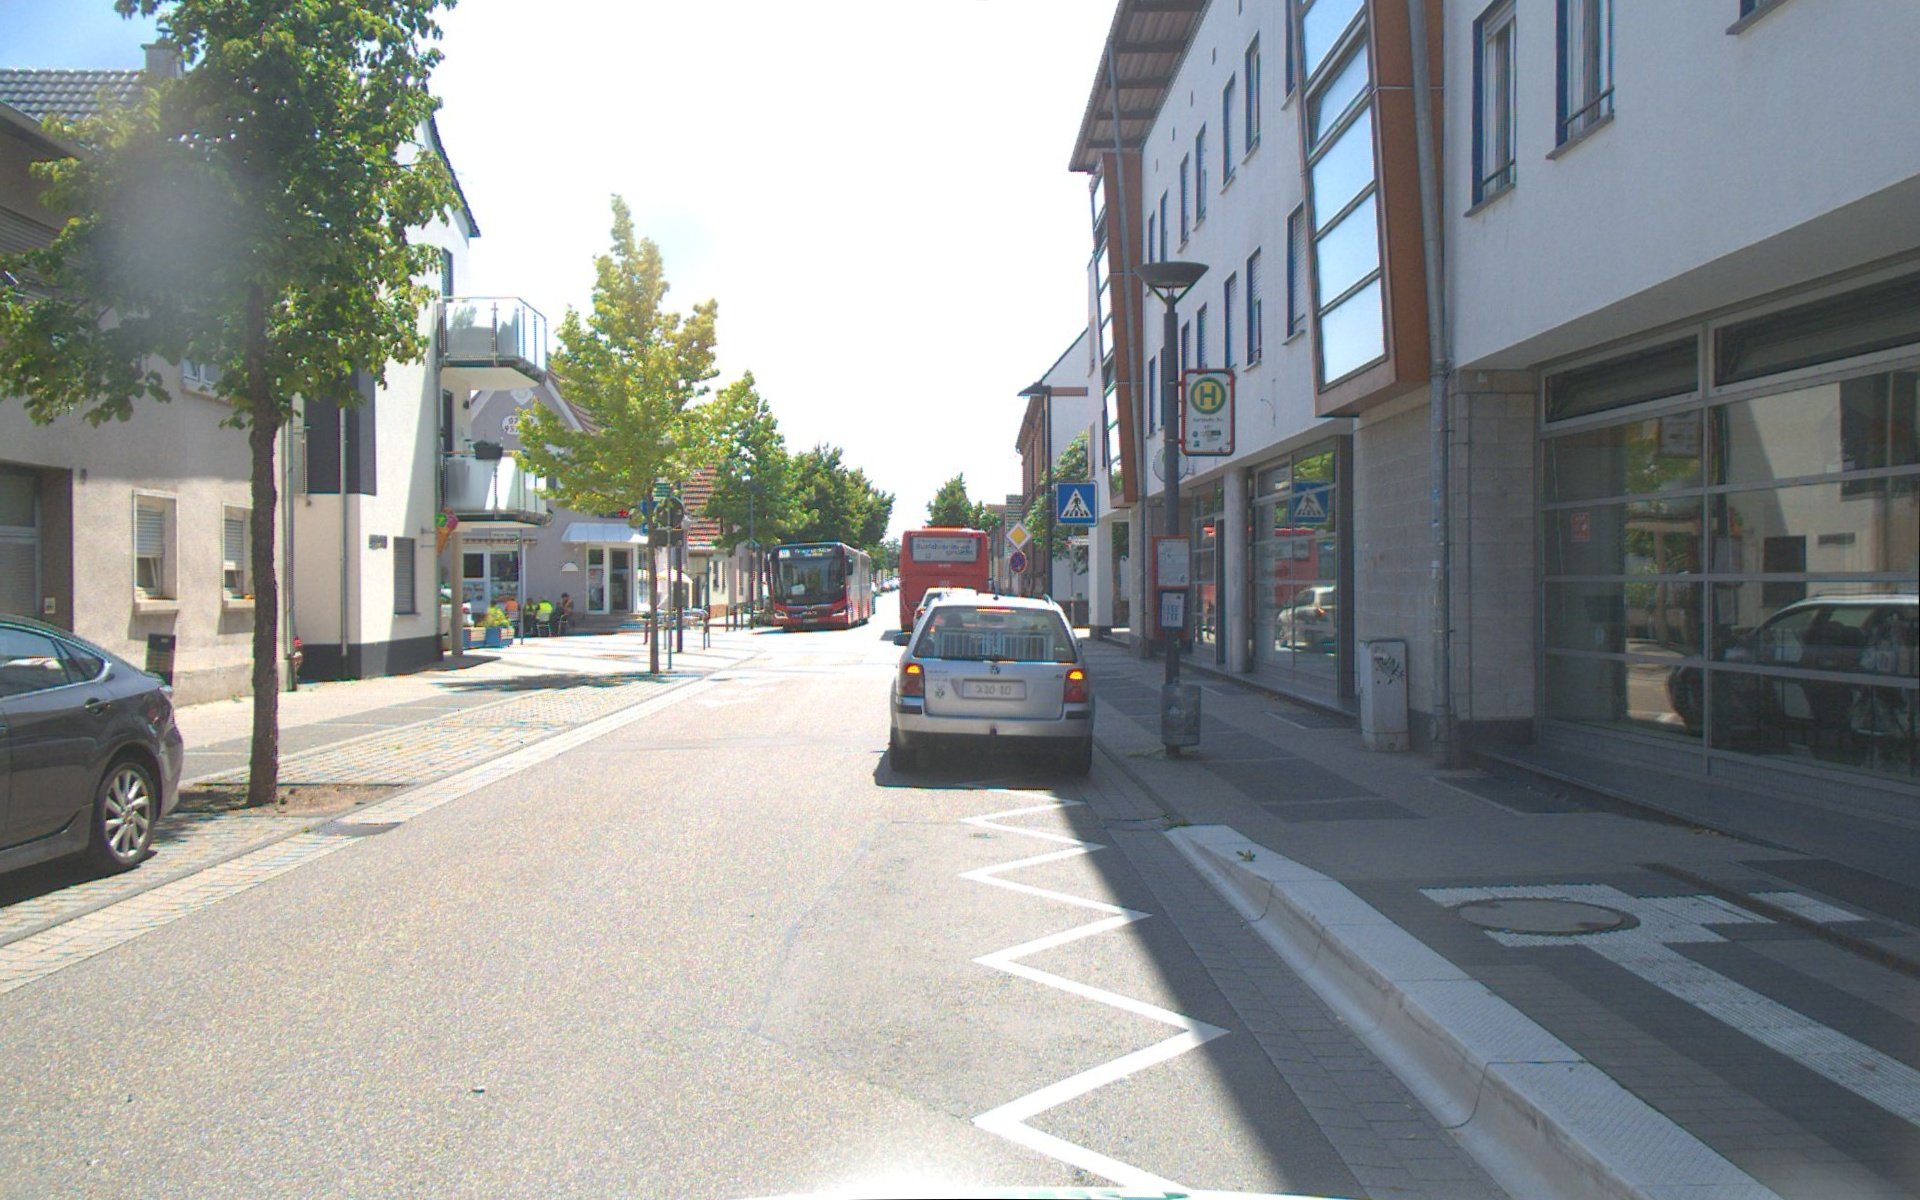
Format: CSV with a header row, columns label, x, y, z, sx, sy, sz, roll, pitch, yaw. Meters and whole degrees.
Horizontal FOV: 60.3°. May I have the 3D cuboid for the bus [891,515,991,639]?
label,x,y,z,sx,sy,sz,roll,pitch,yaw
bus,-0.788,-0.639,51.424,2.685,3.356,12.698,0,0,-3

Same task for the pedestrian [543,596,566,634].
label,x,y,z,sx,sy,sz,roll,pitch,yaw
pedestrian,-12.930,0.486,52.706,0.610,1.199,0.696,0,0,-5

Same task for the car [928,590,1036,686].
label,x,y,z,sx,sy,sz,roll,pitch,yaw
car,0.304,0.581,27.294,1.643,1.455,3.678,1,0,-1

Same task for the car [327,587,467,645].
label,x,y,z,sx,sy,sz,roll,pitch,yaw
car,-16.680,0.449,49.145,3.855,1.572,1.511,-1,2,-18

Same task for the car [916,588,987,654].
label,x,y,z,sx,sy,sz,roll,pitch,yaw
car,-0.204,0.456,38.589,1.561,1.455,3.679,1,0,0

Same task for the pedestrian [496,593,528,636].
label,x,y,z,sx,sy,sz,roll,pitch,yaw
pedestrian,-14.004,0.453,51.678,0.631,1.311,0.776,2,0,-45

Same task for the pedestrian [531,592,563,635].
label,x,y,z,sx,sy,sz,roll,pitch,yaw
pedestrian,-12.897,0.432,51.631,0.631,1.311,0.776,2,0,-45

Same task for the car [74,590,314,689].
label,x,y,z,sx,sy,sz,roll,pitch,yaw
car,-11.982,0.595,26.037,3.054,1.468,1.585,-1,0,-7

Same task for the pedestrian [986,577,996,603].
label,x,y,z,sx,sy,sz,roll,pitch,yaw
pedestrian,2.052,-0.651,109.636,0.594,1.696,0.789,0,0,-3

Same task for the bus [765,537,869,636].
label,x,y,z,sx,sy,sz,roll,pitch,yaw
bus,-5.238,-0.524,63.881,2.615,3.178,17.803,-2,0,-1

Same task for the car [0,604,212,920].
label,x,y,z,sx,sy,sz,roll,pitch,yaw
car,-5.320,0.777,7.700,1.627,1.462,4.538,0,0,0

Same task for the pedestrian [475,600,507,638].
label,x,y,z,sx,sy,sz,roll,pitch,yaw
pedestrian,-14.402,0.574,50.778,0.631,1.135,0.776,2,0,-45

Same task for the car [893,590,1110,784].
label,x,y,z,sx,sy,sz,roll,pitch,yaw
car,0.285,0.666,14.707,1.643,1.455,3.678,2,0,-1
